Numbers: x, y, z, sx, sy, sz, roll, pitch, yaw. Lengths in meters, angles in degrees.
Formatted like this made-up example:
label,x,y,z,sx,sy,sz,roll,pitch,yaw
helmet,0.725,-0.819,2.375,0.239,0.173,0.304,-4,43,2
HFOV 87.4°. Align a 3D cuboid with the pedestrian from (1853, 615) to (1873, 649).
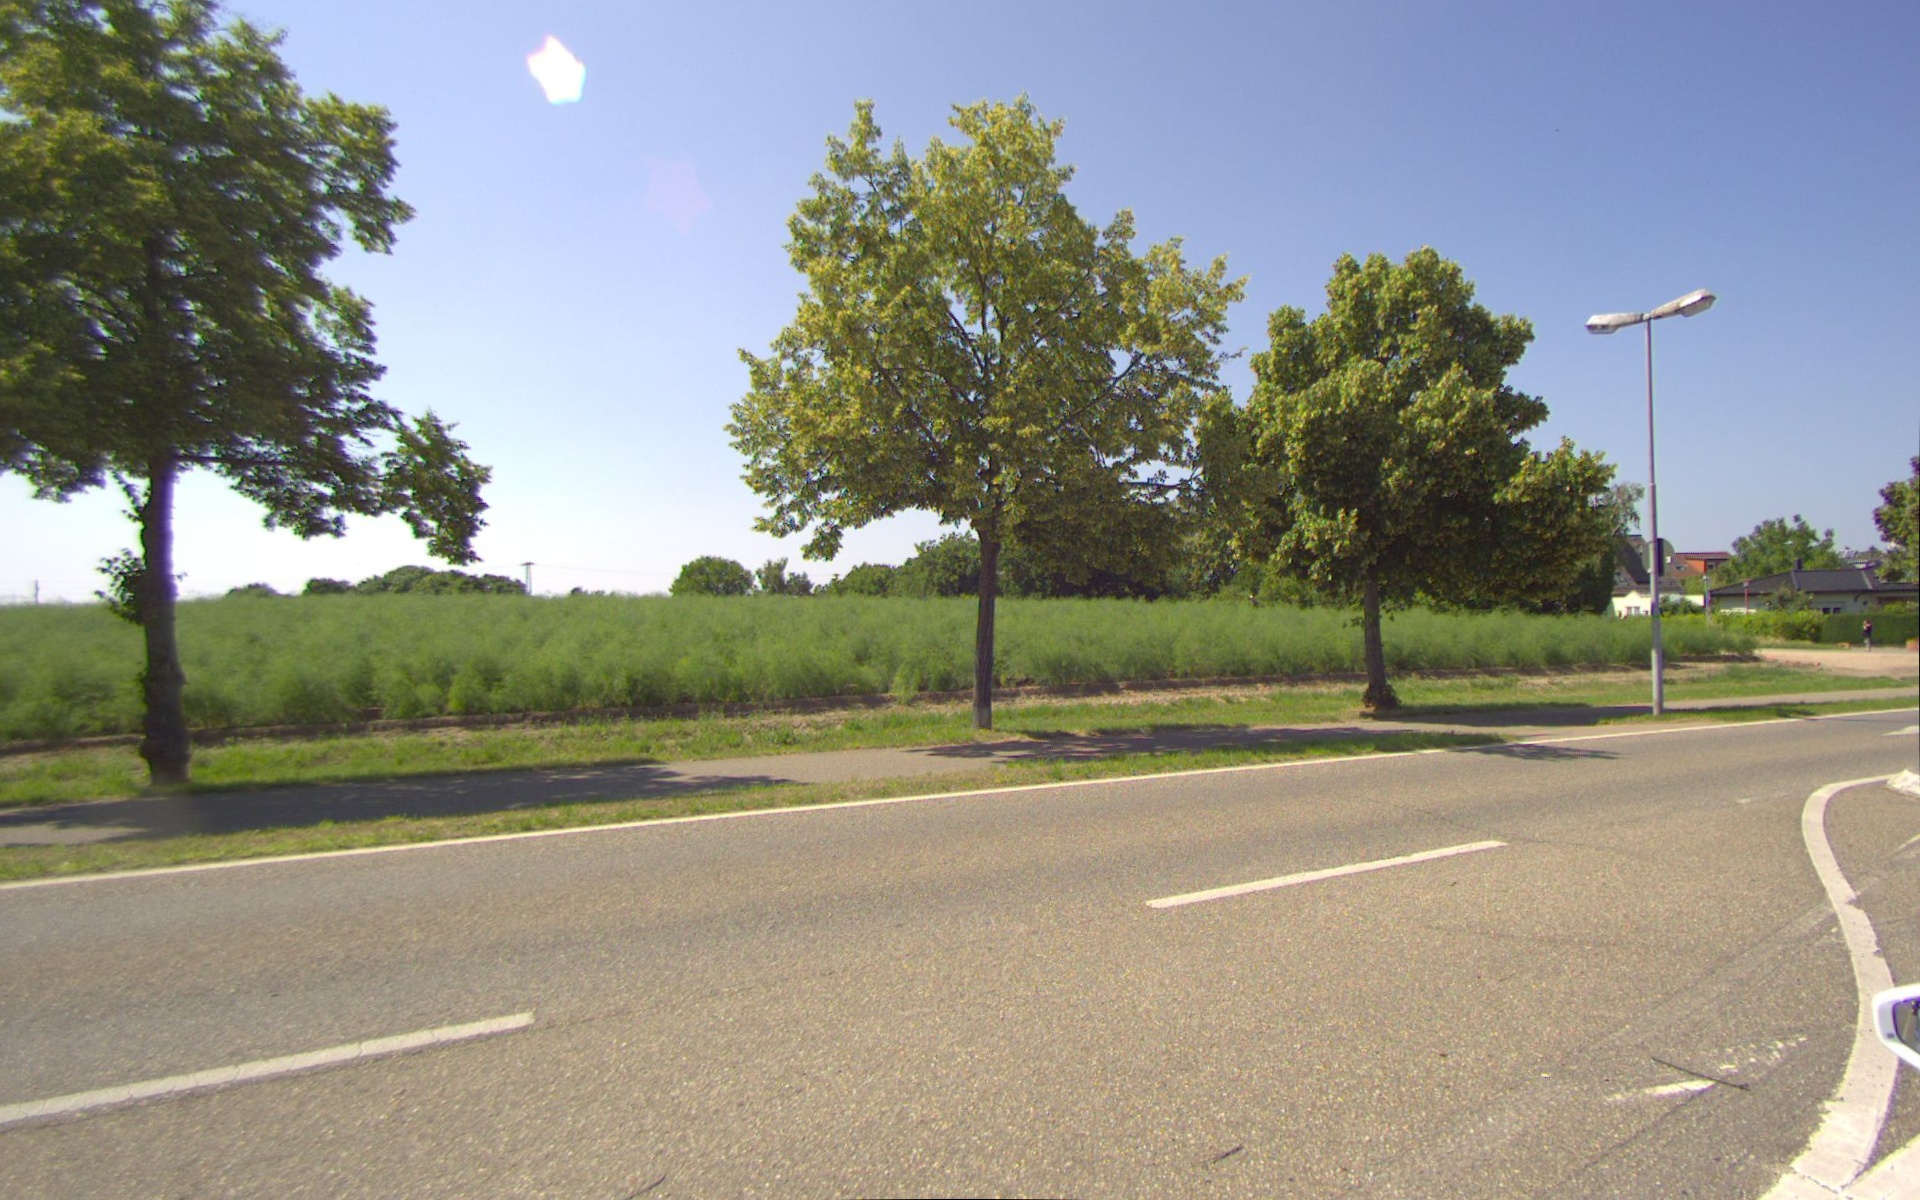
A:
label,x,y,z,sx,sy,sz,roll,pitch,yaw
pedestrian,47.031,1.658,52.305,0.545,1.739,0.669,-1,0,-35
